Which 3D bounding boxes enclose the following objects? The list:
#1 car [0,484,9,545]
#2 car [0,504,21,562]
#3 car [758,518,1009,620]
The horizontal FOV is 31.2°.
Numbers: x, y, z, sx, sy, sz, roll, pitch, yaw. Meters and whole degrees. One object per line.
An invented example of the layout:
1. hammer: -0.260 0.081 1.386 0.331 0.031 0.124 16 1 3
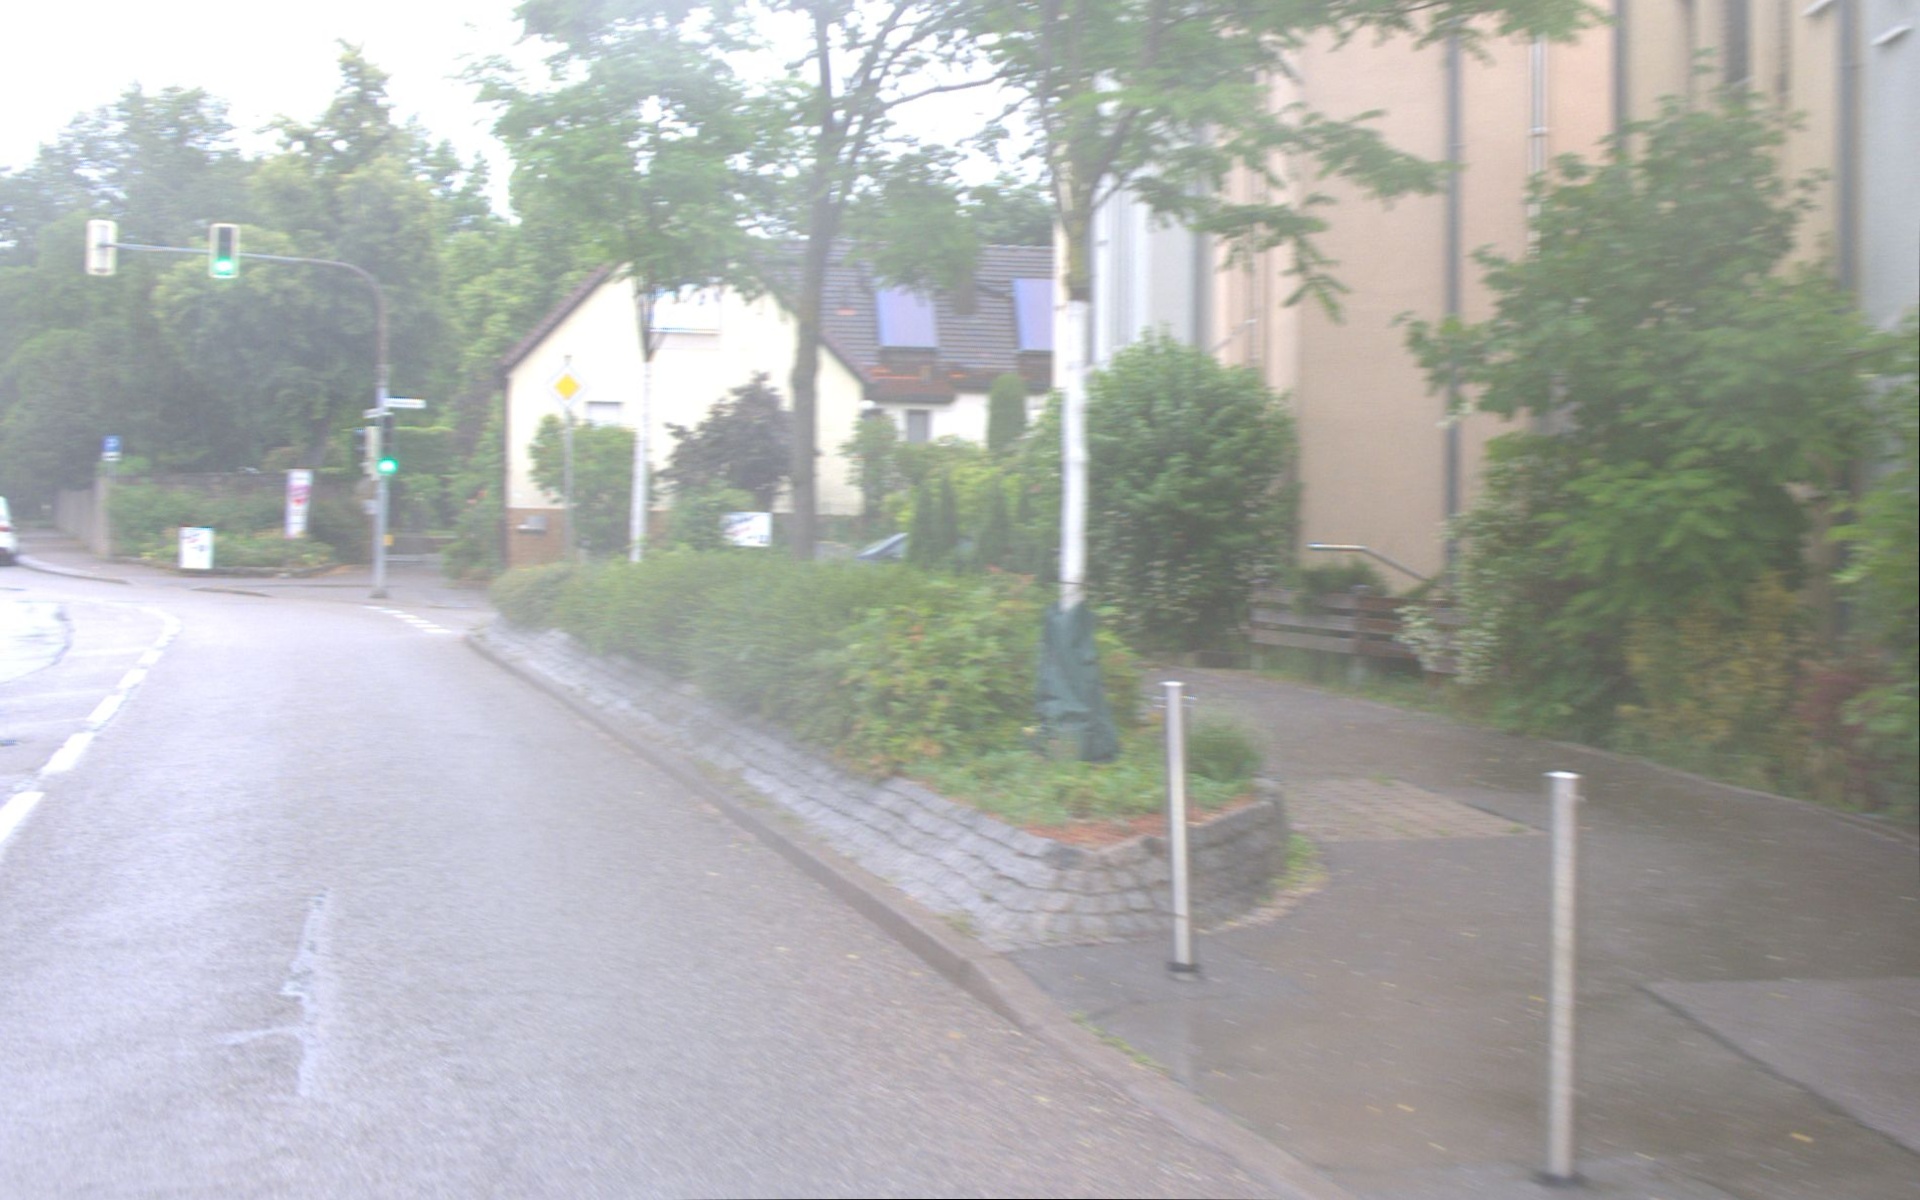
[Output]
1. car: -28.361 -2.477 99.276 1.636 1.735 4.137 1 1 -15
2. car: -25.193 -1.757 88.910 1.611 1.475 4.040 1 1 -17
3. car: -1.262 -0.517 57.871 4.132 1.580 1.864 1 0 0
